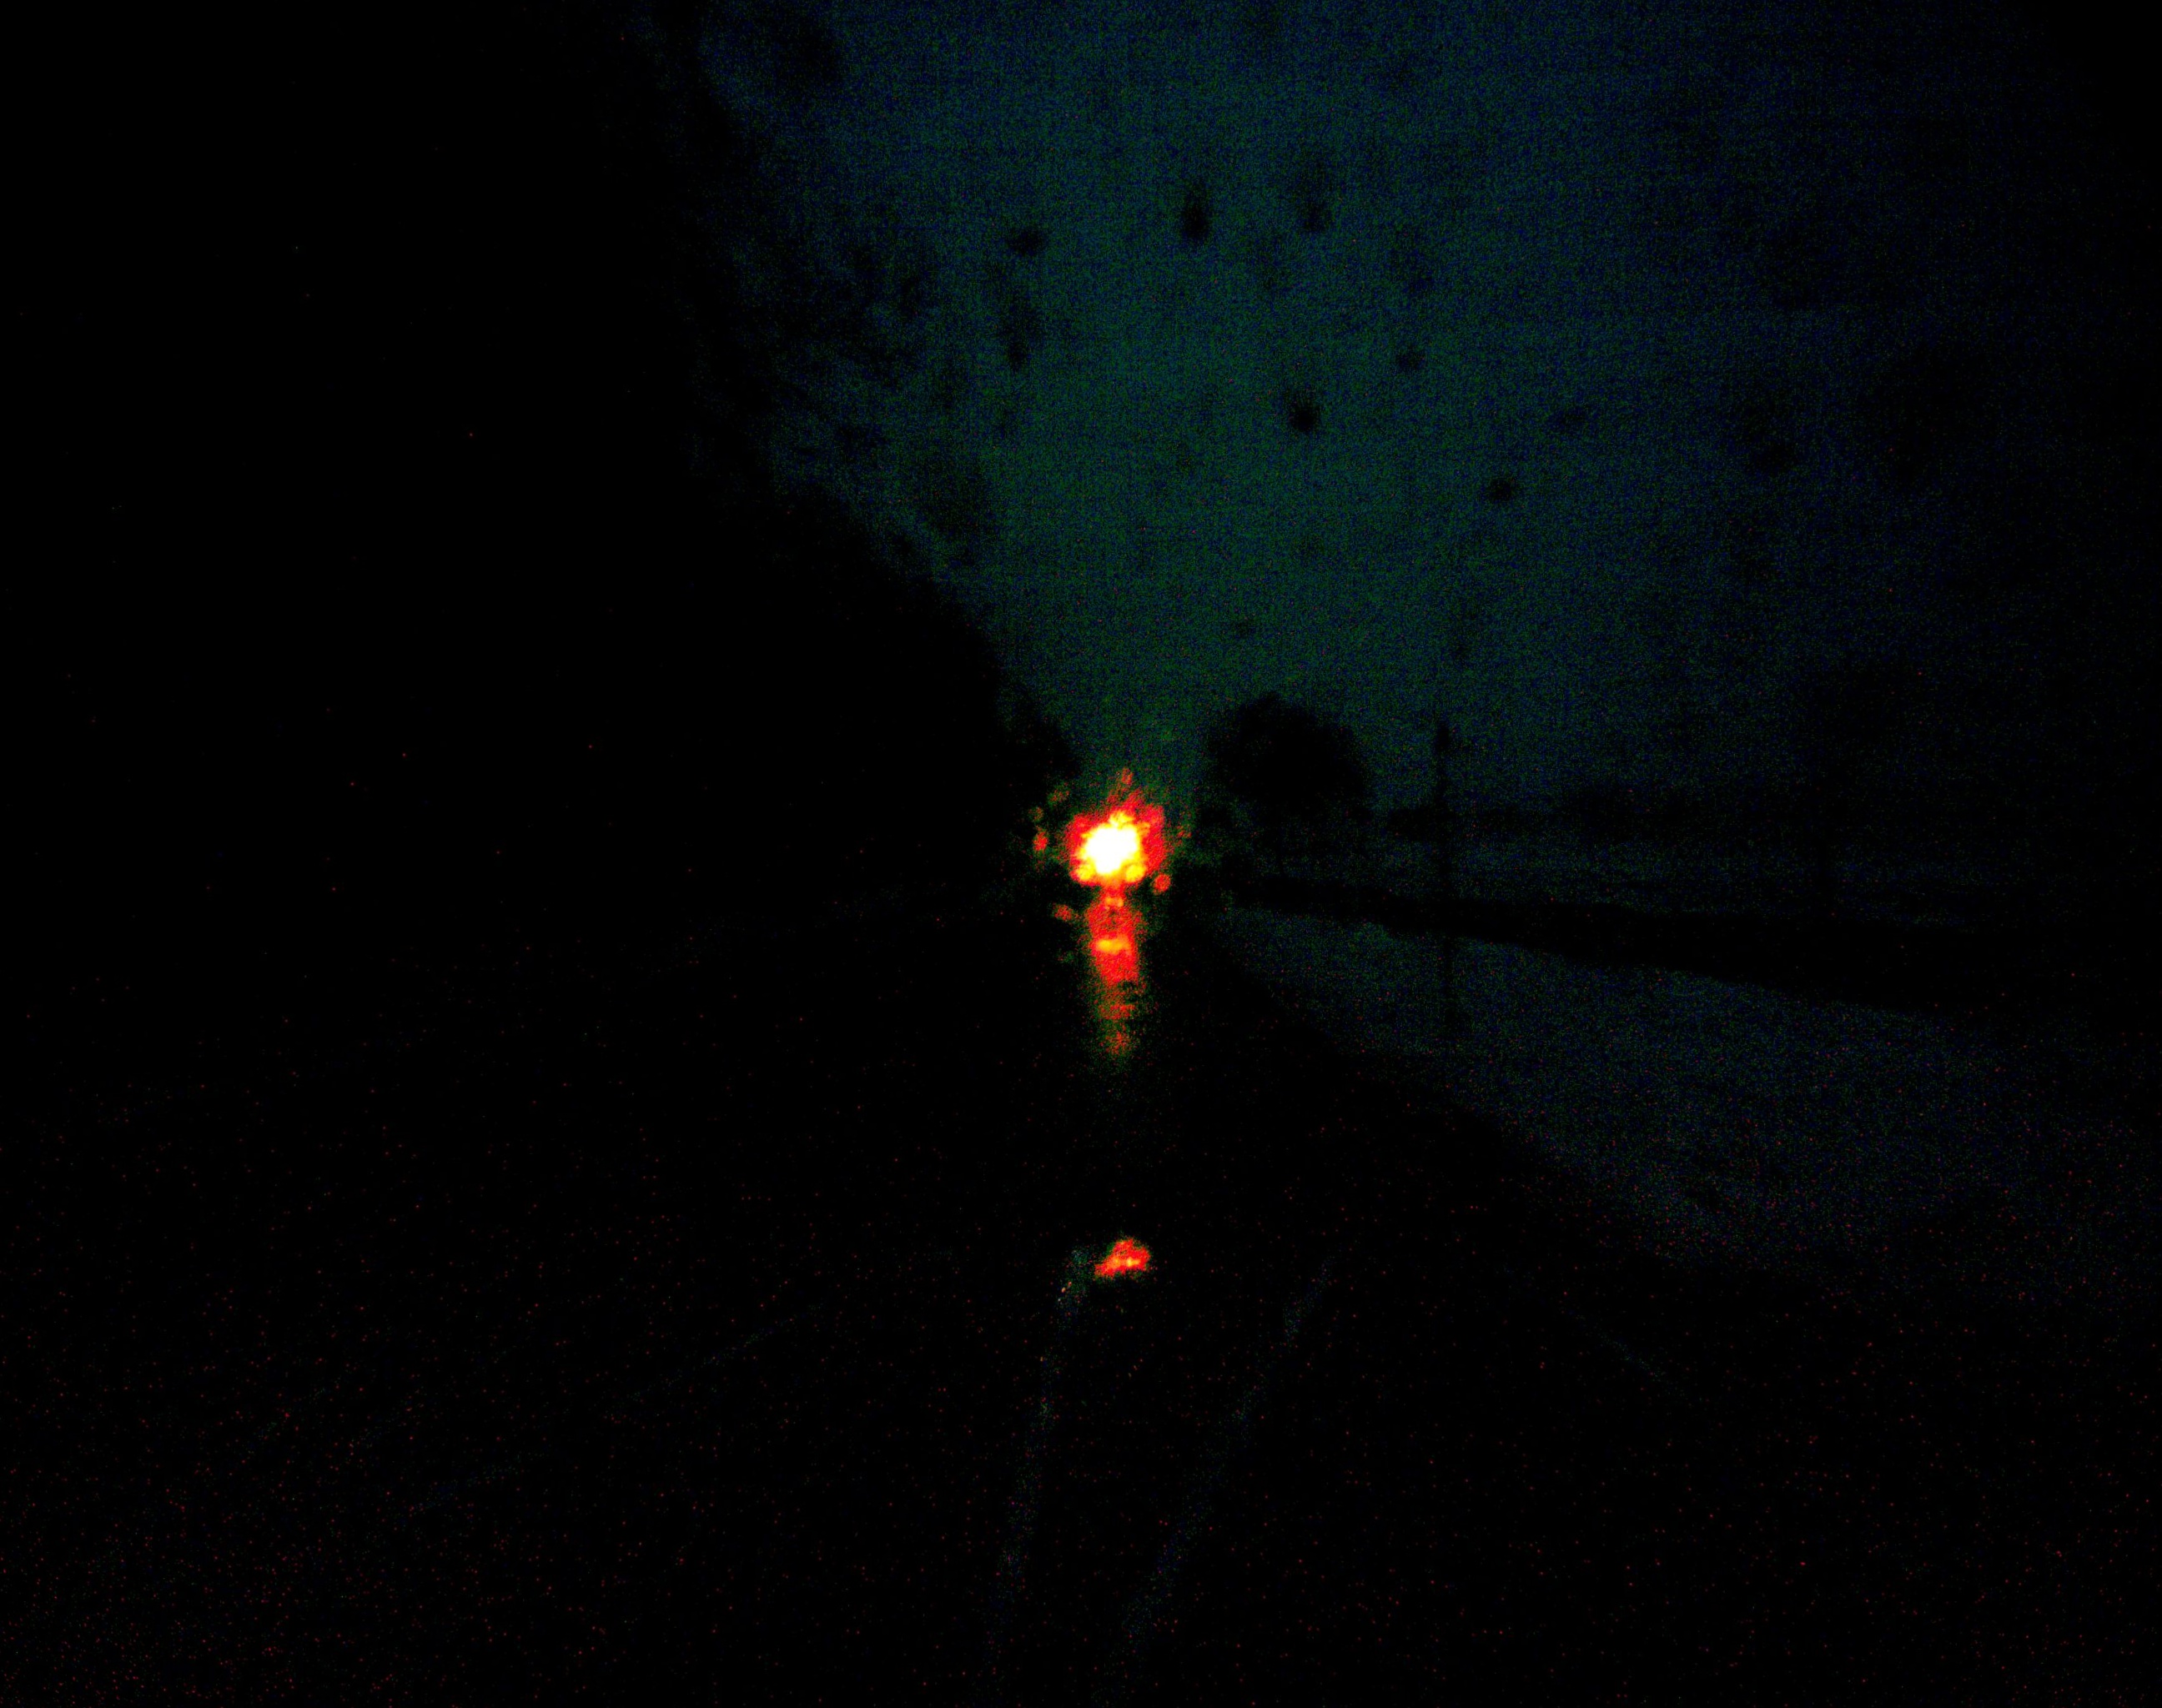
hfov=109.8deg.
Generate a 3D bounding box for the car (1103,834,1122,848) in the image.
[{"bbox_3d":[3.320,-1.356,79.941,1.725,1.426,3.676,-2,1,-1],"label":"car"}]

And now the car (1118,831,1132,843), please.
[{"bbox_3d":[6.946,-2.688,120.665,1.998,1.797,3.999,-2,1,2],"label":"car"}]

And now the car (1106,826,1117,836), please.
[{"bbox_3d":[5.666,-4.281,141.176,1.998,1.797,3.999,-2,1,2],"label":"car"}]
